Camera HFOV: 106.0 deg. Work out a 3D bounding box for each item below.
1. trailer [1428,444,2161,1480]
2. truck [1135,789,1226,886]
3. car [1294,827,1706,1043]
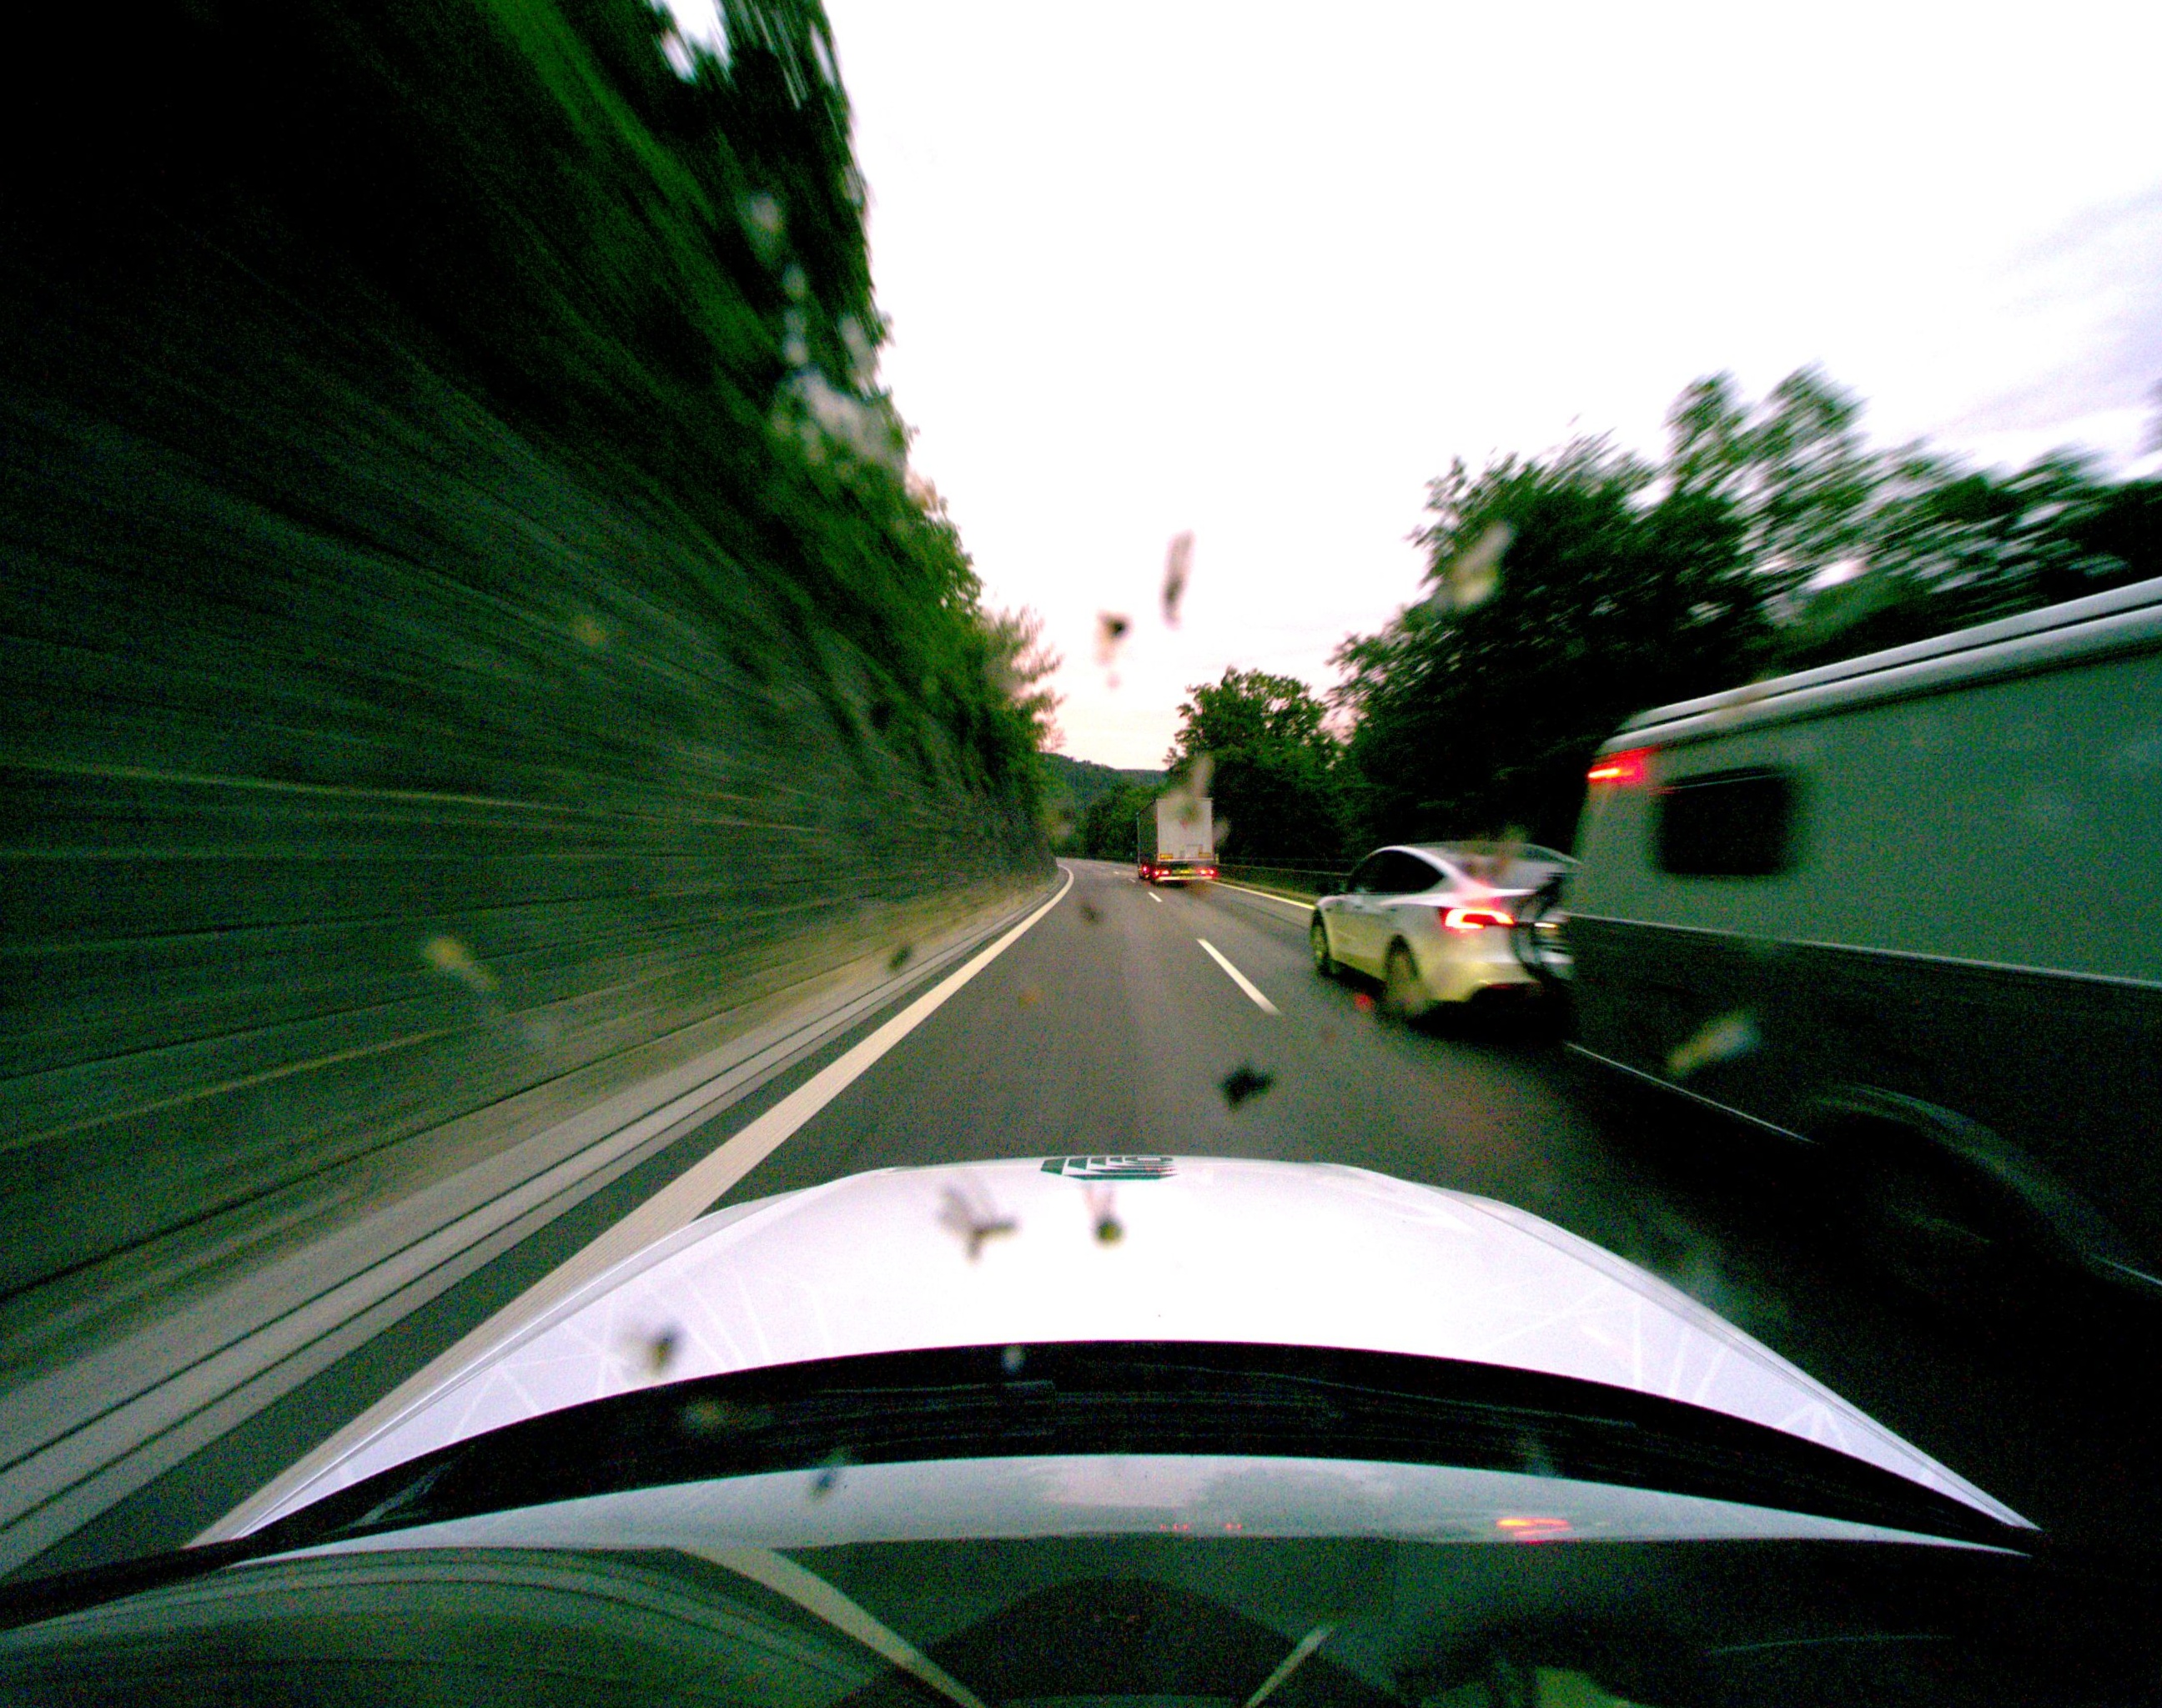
[{"bbox_3d":[3.568,0.251,3.286,2.046,2.375,5.942,0,0,3],"label":"trailer"},{"bbox_3d":[4.807,-0.663,43.254,3.282,4.173,16.508,0,0,2],"label":"truck"},{"bbox_3d":[3.799,0.627,8.597,1.986,1.614,4.867,0,0,2],"label":"car"}]
